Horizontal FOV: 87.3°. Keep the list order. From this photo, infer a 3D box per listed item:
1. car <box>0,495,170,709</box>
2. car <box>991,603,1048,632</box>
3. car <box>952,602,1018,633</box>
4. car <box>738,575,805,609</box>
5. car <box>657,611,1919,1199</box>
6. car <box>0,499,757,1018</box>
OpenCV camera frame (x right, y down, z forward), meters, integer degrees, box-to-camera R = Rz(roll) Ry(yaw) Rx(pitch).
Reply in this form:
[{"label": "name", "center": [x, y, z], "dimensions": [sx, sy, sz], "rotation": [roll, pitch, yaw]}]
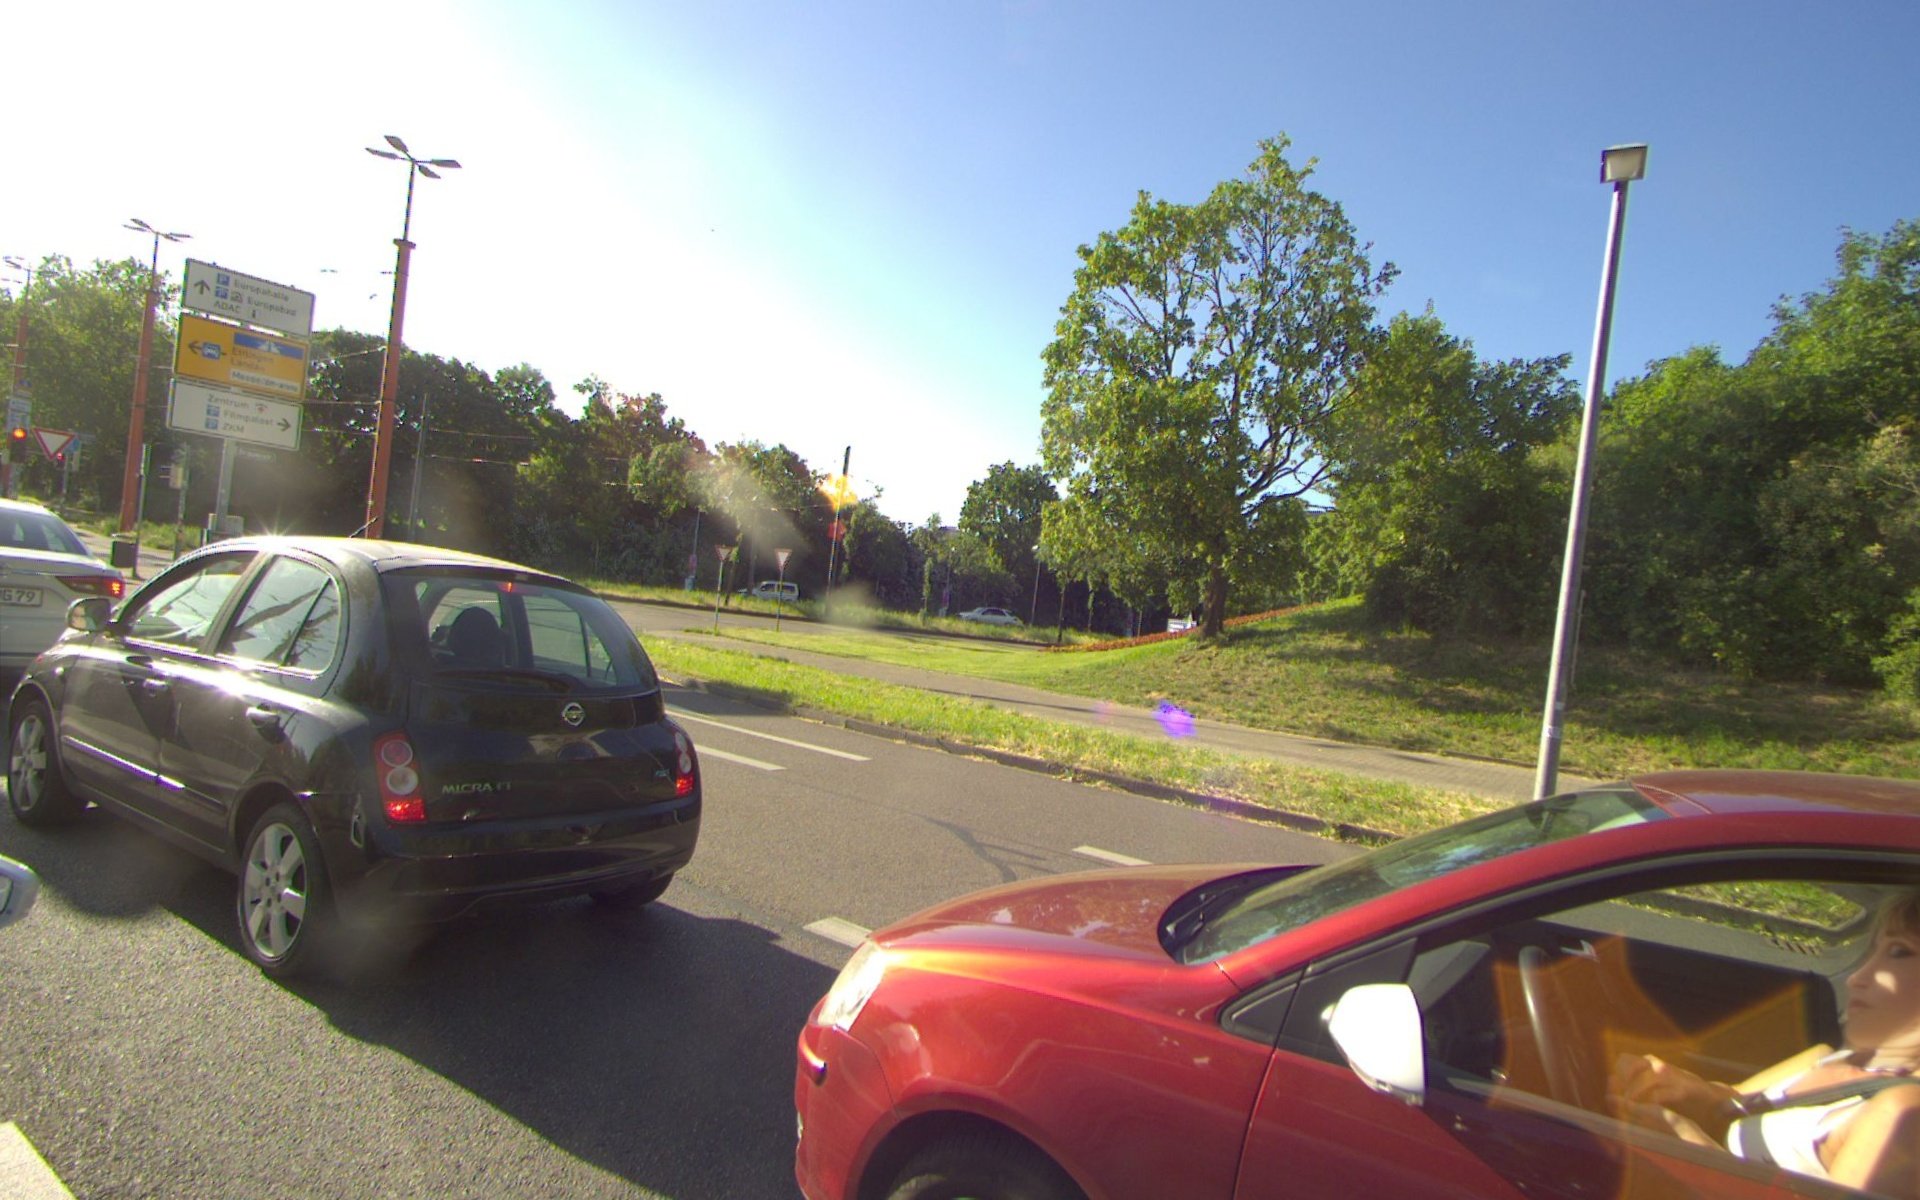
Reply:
[{"label": "car", "center": [-8.373, -0.177, 8.078], "dimensions": [4.256, 1.457, 1.802], "rotation": [6, -2, 33]}, {"label": "car", "center": [4.759, 1.403, 80.241], "dimensions": [4.176, 1.701, 1.643], "rotation": [8, -1, -32]}, {"label": "car", "center": [1.889, 1.320, 74.569], "dimensions": [4.629, 1.644, 1.643], "rotation": [8, -1, -32]}, {"label": "car", "center": [-12.996, -0.545, 69.408], "dimensions": [4.088, 1.771, 1.644], "rotation": [8, -1, -30]}, {"label": "car", "center": [1.342, 1.000, 1.867], "dimensions": [3.629, 1.477, 1.579], "rotation": [6, -2, 32]}, {"label": "car", "center": [-2.801, 0.465, 4.623], "dimensions": [3.385, 1.457, 1.579], "rotation": [6, -2, 32]}]
